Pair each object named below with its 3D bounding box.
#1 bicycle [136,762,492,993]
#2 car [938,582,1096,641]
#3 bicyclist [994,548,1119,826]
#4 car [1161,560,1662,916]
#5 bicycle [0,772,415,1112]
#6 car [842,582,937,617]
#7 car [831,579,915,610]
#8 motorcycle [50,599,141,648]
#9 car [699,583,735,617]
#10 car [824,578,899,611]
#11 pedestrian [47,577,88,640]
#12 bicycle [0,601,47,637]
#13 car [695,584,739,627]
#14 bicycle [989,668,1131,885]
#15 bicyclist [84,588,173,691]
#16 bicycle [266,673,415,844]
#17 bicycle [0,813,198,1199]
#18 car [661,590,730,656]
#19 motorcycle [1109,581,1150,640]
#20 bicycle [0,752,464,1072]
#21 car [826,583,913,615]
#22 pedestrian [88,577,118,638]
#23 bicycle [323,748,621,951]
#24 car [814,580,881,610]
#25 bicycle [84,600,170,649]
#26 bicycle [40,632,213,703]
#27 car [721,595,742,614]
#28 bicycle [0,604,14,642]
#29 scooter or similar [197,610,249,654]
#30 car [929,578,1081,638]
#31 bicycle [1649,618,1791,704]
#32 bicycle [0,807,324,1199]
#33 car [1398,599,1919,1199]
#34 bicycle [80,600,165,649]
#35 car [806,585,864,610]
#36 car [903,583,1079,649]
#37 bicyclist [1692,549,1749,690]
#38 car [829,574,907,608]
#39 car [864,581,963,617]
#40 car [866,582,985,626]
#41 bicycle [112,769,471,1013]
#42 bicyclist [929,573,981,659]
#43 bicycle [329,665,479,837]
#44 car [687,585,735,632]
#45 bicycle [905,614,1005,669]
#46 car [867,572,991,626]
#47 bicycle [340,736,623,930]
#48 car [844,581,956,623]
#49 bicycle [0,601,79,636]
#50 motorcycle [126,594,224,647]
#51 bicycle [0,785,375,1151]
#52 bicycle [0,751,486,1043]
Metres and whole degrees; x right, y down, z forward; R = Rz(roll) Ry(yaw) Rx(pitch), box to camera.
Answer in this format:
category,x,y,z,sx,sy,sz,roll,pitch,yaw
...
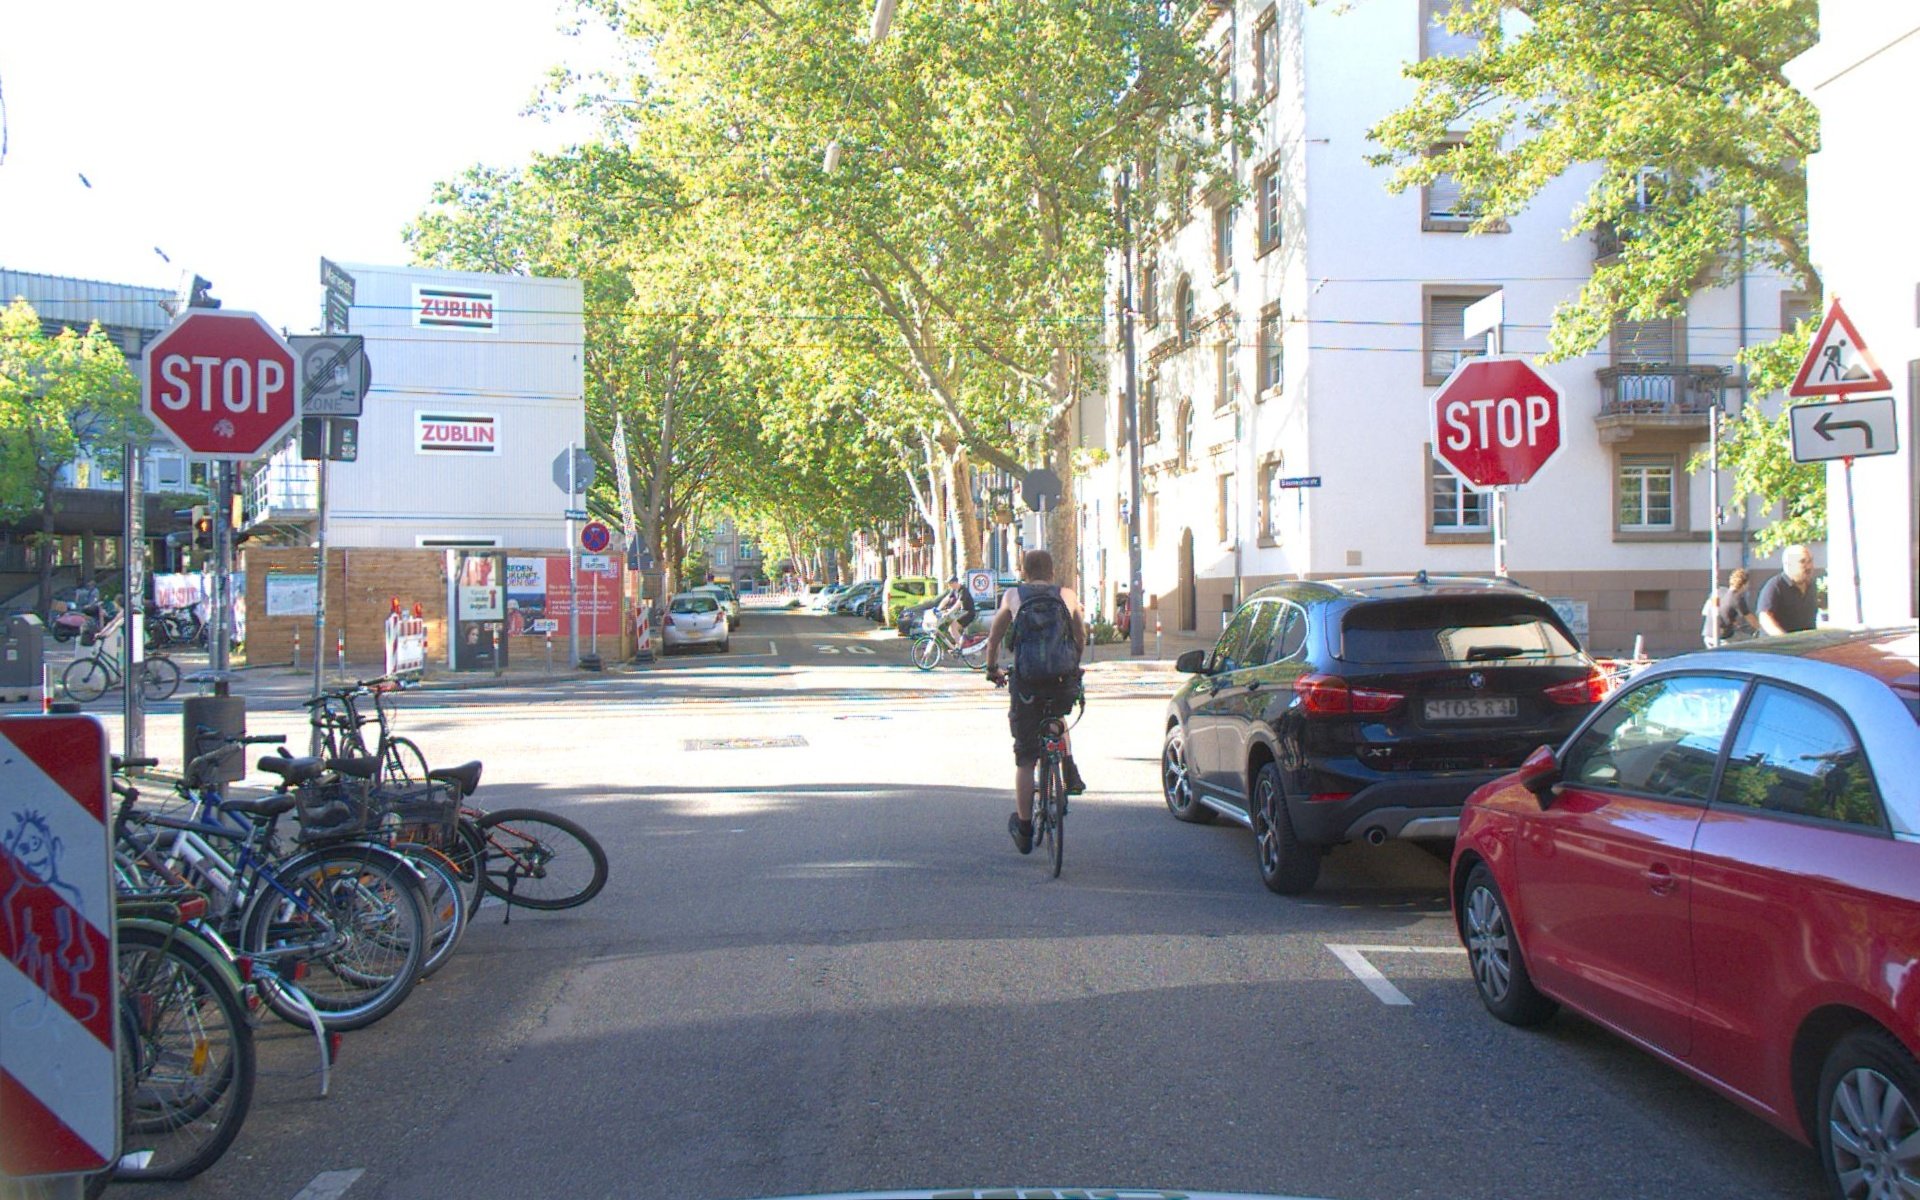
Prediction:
category,x,y,z,sx,sy,sz,roll,pitch,yaw
bicycle,-2.792,1.194,7.234,1.362,0.832,0.361,-3,1,-11
car,1.633,0.310,48.247,4.379,1.598,1.725,-1,0,-9
bicyclist,0.546,0.484,9.554,0.662,1.539,0.668,1,0,-1
car,2.422,0.650,10.011,1.725,1.691,4.195,1,0,-2
bicycle,-2.718,1.091,5.363,1.729,0.978,0.443,-1,0,-2
car,-3.408,-0.042,79.502,4.379,1.598,1.725,-1,0,-9
car,-4.685,-0.317,88.962,4.379,1.598,1.725,-1,0,-9
motorcycle,-24.206,0.641,46.357,0.534,1.279,2.196,0,2,44
car,-11.950,-0.005,81.175,1.635,1.590,4.606,-1,1,-9
car,-5.905,-0.330,98.961,4.379,1.931,1.725,-1,0,-9
pedestrian,-29.535,0.260,54.766,0.784,2.049,0.939,-1,1,3
bicycle,-32.174,0.649,55.139,3.015,1.167,0.822,-1,1,1
car,-9.531,0.187,64.629,1.635,1.590,4.509,-1,1,-9
bicycle,0.540,0.961,9.568,0.675,1.034,1.907,1,0,-1
bicyclist,-13.811,0.649,27.507,1.076,1.668,0.894,-1,-1,-7
bicycle,-4.455,1.094,11.835,0.447,1.064,1.639,-1,1,-41
bicycle,-2.869,1.080,4.080,1.729,1.006,0.463,-1,0,-2
car,-6.861,0.558,42.938,1.613,1.520,3.991,-3,1,-9
motorcycle,4.046,0.235,39.532,0.504,1.356,1.759,-1,1,-10
bicycle,-2.720,1.096,5.974,1.734,0.978,0.480,-1,0,-13
car,-4.752,-0.047,86.615,4.379,1.598,1.725,-1,0,-9
pedestrian,-28.914,0.247,55.794,0.792,2.049,1.020,-1,1,-31
bicycle,-2.250,1.144,7.714,1.285,0.832,0.354,-1,0,-11
car,-7.628,-0.372,111.634,4.379,1.931,1.725,-1,0,-9
bicycle,-22.782,0.655,45.276,0.534,1.279,2.036,0,2,44
bicycle,-13.829,1.112,27.501,2.376,1.112,0.894,-1,-1,-8
car,-19.534,0.352,141.316,1.635,1.590,4.210,-1,1,-9
bicycle,-31.316,0.737,51.674,3.015,1.167,0.822,-1,1,1
scooter or similar,-18.500,0.797,41.539,0.376,1.038,1.489,0,1,11
car,1.353,0.232,50.312,4.379,1.700,1.725,-1,0,-9
bicycle,9.478,0.746,20.668,1.591,1.034,0.553,0,-1,25
bicycle,-2.699,1.102,4.526,1.729,0.978,0.405,-1,0,-2
car,2.775,0.781,5.170,1.612,1.529,3.953,1,0,-2
bicycle,-23.147,0.658,45.737,0.534,1.279,2.036,0,2,44
car,-9.903,-0.199,130.891,4.379,1.931,1.725,-1,0,-9
car,0.789,0.400,43.263,4.379,1.598,1.725,-1,0,-9
bicyclist,9.498,0.240,20.661,0.638,1.717,0.543,0,-1,25
car,-5.374,-0.530,96.244,4.379,1.931,1.725,-1,0,-9
car,-2.149,-0.060,76.449,4.379,1.598,1.725,-1,0,-9
car,-1.334,0.140,63.115,4.379,1.598,1.725,-1,0,-9
bicycle,-2.736,1.182,6.851,1.285,0.832,0.381,-3,1,-11
bicyclist,-0.101,0.311,33.146,0.799,1.687,0.677,-1,0,-26
bicycle,-4.106,1.069,12.147,0.454,1.064,1.663,-1,3,-41
car,-8.898,0.265,58.966,1.635,1.590,3.991,-1,1,-9
bicycle,-0.099,0.824,33.148,1.892,1.036,0.677,-1,0,-26
car,-1.165,-0.053,61.106,4.380,1.868,1.724,-1,0,-10
bicycle,-2.313,1.121,8.083,1.285,0.832,0.370,-1,0,-11
car,-2.454,0.059,66.930,4.379,1.598,1.725,-1,0,-9
bicycle,-32.646,0.661,58.048,3.015,1.167,0.822,-1,1,1
motorcycle,-19.947,0.510,42.079,0.534,1.279,2.196,0,2,44
bicycle,-2.703,1.087,4.947,1.729,0.978,0.422,-1,0,-2
bicycle,-2.769,1.121,6.406,1.732,0.978,0.427,-1,0,-9
